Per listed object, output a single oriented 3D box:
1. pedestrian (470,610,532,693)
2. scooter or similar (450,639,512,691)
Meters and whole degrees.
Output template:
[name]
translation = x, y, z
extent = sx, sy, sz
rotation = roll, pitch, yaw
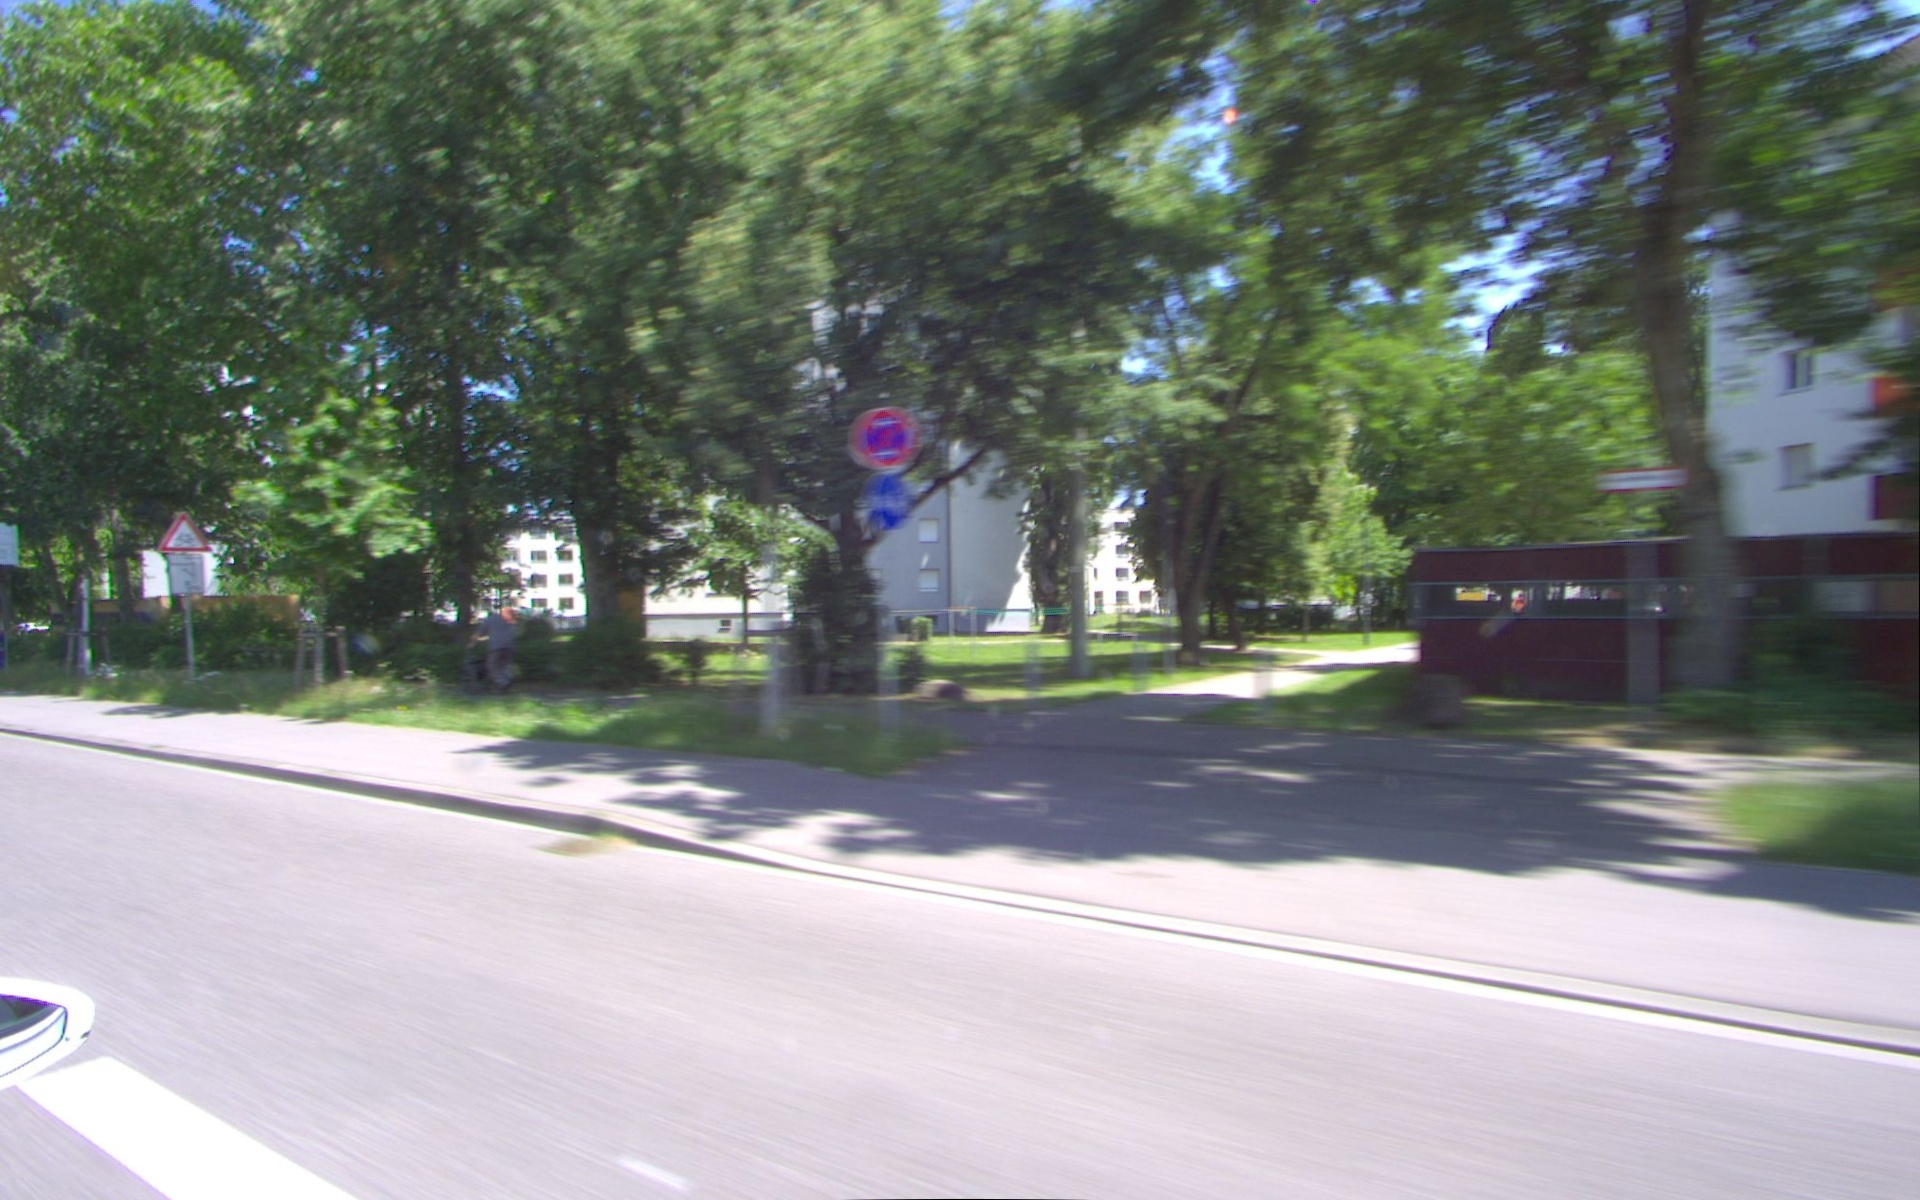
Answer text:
[pedestrian]
translation = -8.096, 0.896, 17.664
extent = 0.752, 1.416, 0.707
rotation = 0, -1, 33
[scooter or similar]
translation = -8.605, 1.158, 17.998
extent = 0.752, 0.904, 0.707
rotation = 0, -1, 33
